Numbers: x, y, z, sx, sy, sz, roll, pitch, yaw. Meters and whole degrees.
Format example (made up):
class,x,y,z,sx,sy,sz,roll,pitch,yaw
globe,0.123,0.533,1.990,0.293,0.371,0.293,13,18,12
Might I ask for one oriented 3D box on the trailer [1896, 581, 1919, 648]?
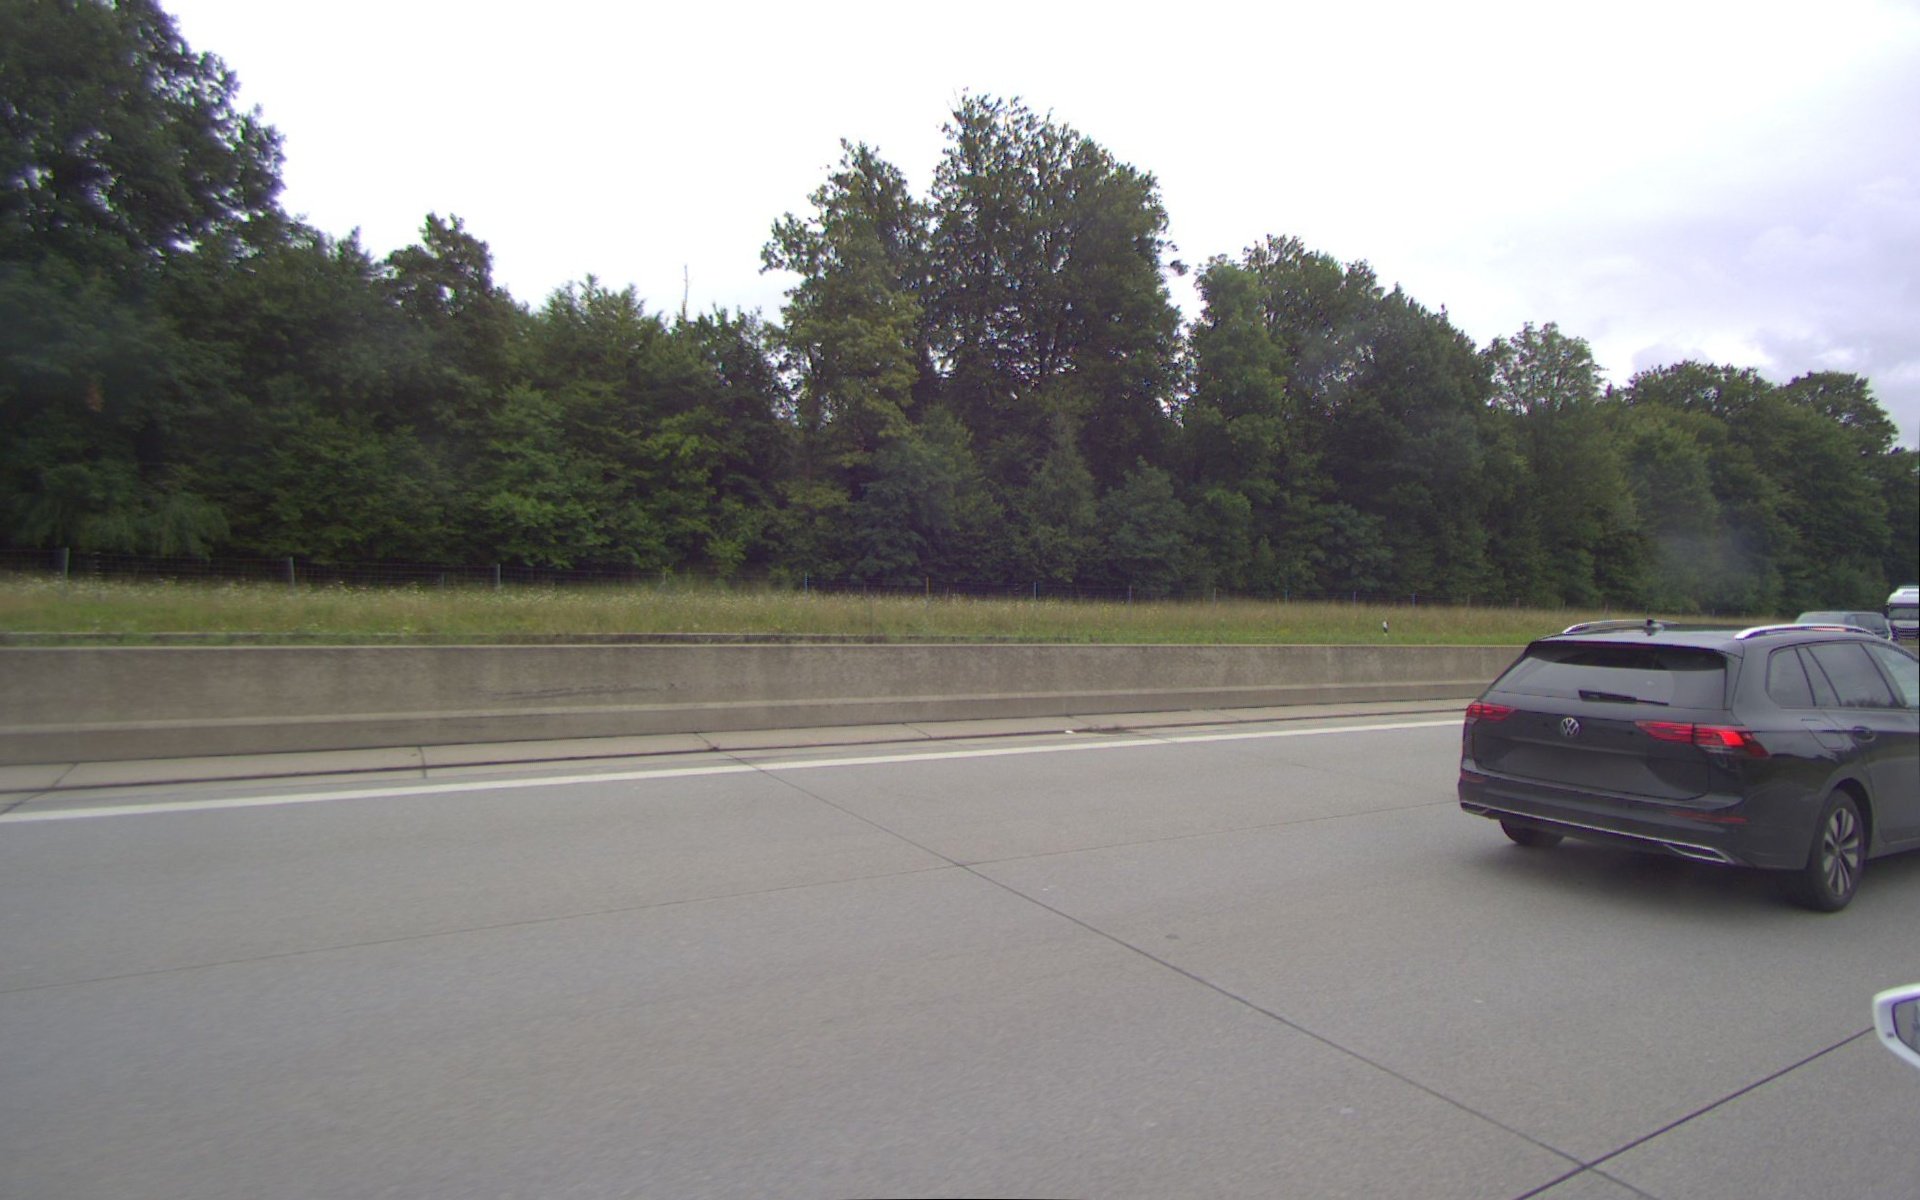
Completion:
class,x,y,z,sx,sy,sz,roll,pitch,yaw
trailer,66.151,1.084,66.403,13.815,4.158,2.485,2,0,-31

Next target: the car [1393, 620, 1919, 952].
class,x,y,z,sx,sy,sz,roll,pitch,yaw
car,4.943,0.890,6.366,4.432,1.417,1.744,1,1,-31

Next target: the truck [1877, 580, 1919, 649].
class,x,y,z,sx,sy,sz,roll,pitch,yaw
truck,60.244,0.929,62.810,6.387,4.180,2.496,1,0,-31

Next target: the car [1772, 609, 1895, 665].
class,x,y,z,sx,sy,sz,roll,pitch,yaw
car,34.306,1.441,39.430,5.364,2.040,2.051,2,0,-31
